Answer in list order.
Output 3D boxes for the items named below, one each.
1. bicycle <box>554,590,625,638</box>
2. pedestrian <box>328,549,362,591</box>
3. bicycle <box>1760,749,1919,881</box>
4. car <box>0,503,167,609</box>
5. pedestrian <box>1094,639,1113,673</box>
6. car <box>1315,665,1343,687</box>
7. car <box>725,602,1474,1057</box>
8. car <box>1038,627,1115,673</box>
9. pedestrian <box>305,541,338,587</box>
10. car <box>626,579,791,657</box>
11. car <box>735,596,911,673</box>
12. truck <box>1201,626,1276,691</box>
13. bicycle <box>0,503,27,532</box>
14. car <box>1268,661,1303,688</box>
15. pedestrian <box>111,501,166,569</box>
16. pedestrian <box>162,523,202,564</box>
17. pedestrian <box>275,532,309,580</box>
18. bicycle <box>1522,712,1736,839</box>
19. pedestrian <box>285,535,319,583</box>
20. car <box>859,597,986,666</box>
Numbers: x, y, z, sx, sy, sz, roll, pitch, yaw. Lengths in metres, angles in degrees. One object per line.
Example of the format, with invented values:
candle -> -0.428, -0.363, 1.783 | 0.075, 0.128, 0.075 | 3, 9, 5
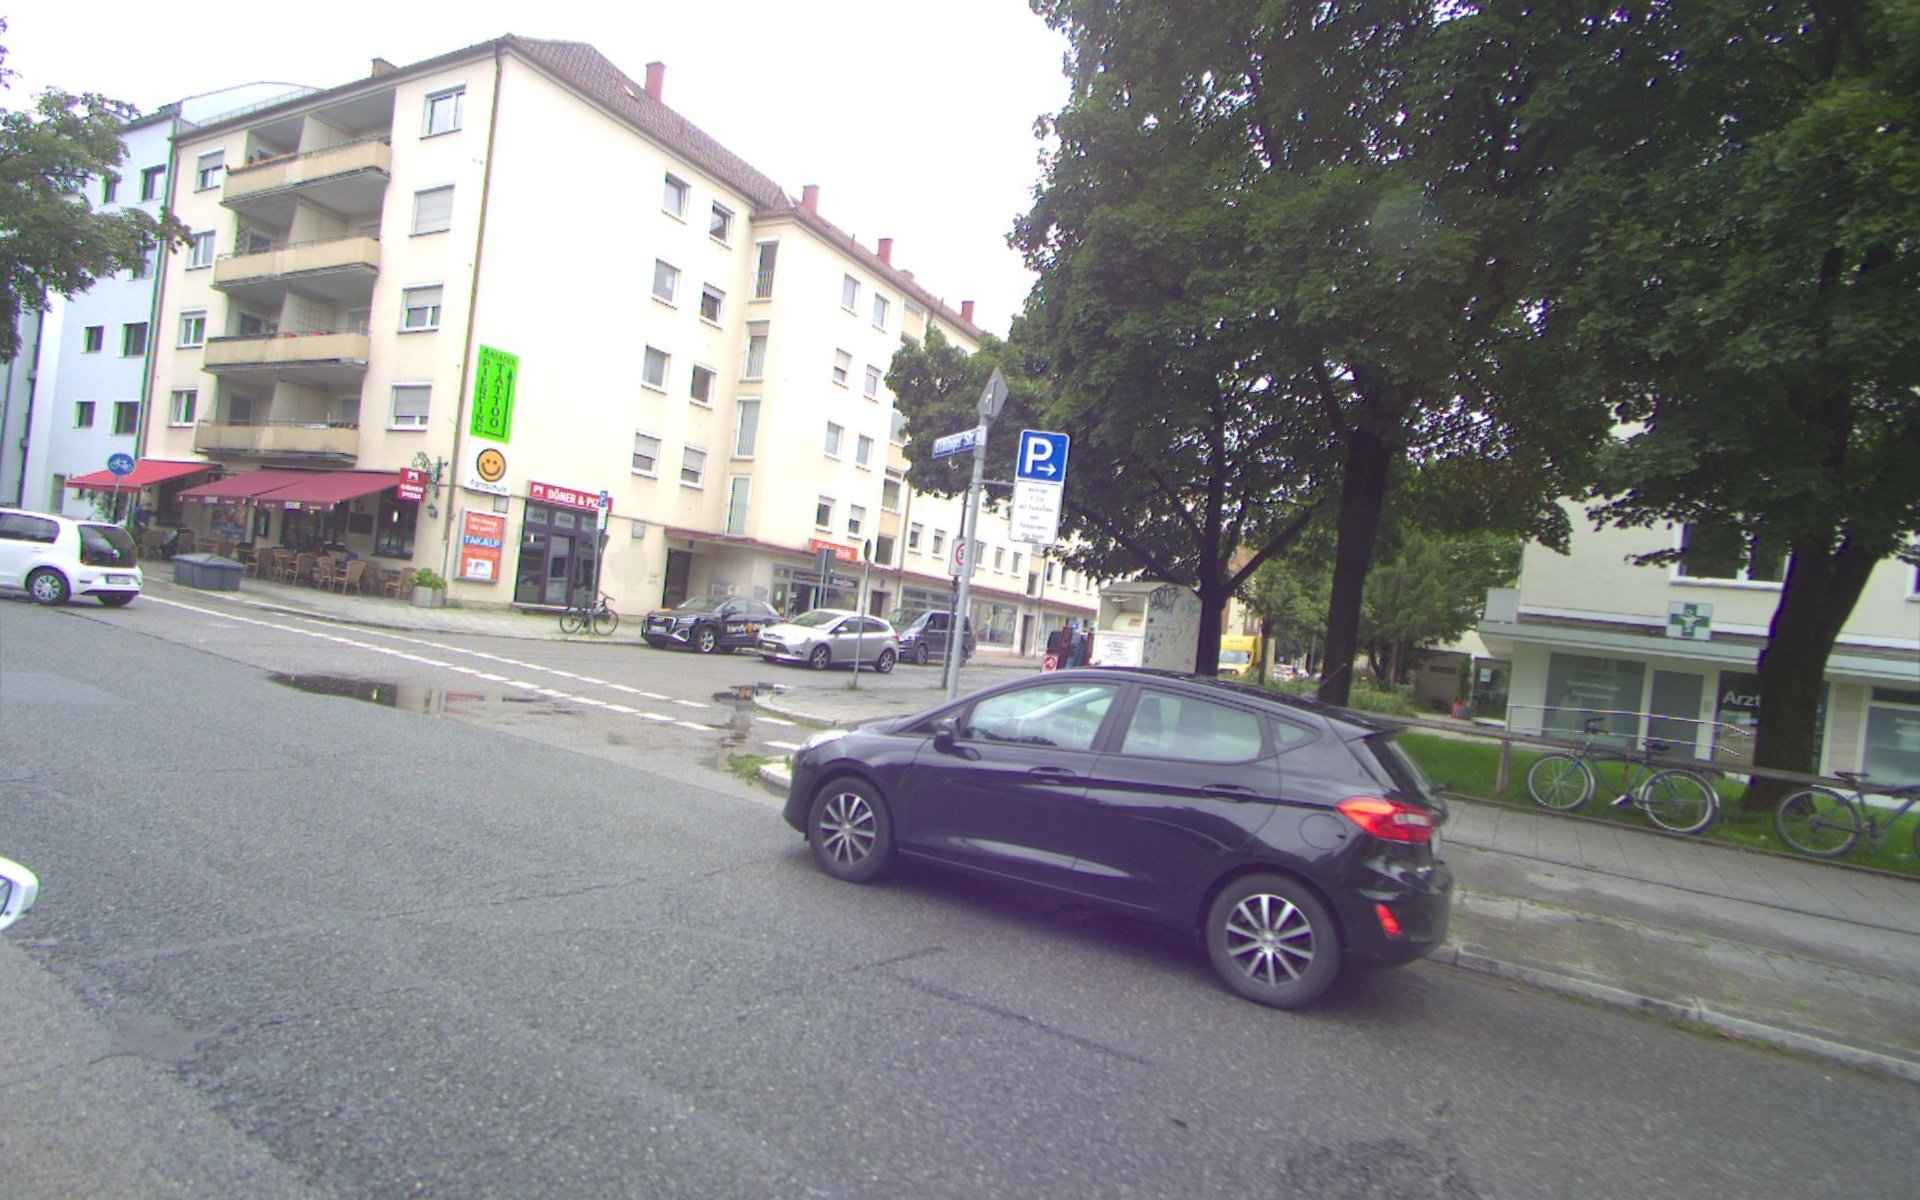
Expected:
bicycle -> -9.134, 0.357, 24.844 | 0.545, 1.023, 1.541 | 7, -1, 34
pedestrian -> -17.107, -0.831, 27.994 | 0.479, 1.066, 0.539 | 7, 0, 31
bicycle -> 9.106, 2.155, 9.941 | 1.738, 1.067, 0.470 | 6, -2, 31
car -> -15.770, -0.821, 16.871 | 3.375, 1.507, 1.691 | 7, -1, -6
pedestrian -> 6.943, 2.694, 48.622 | 0.486, 1.551, 0.733 | 7, 0, 31
car -> 32.968, 6.797, 89.838 | 1.573, 1.638, 3.764 | 7, -1, 30
car -> 0.709, 1.038, 5.912 | 3.890, 1.494, 1.647 | 7, -1, 31
car -> 5.721, 2.457, 48.708 | 2.117, 1.806, 4.999 | 7, -1, 25
pedestrian -> -18.287, -1.030, 28.818 | 0.479, 1.229, 0.539 | 7, 0, 31
car -> -6.294, 0.499, 25.624 | 1.701, 1.537, 3.933 | 7, -1, 30
car -> -3.343, 0.909, 25.258 | 1.968, 1.459, 4.212 | 7, -2, 34
truck -> 14.221, 3.049, 50.993 | 2.236, 2.803, 6.765 | 7, -1, 26
bicycle -> -38.550, -3.360, 40.669 | 2.159, 1.061, 0.621 | 6, 3, 32
car -> 23.639, 5.410, 72.933 | 1.573, 1.638, 3.764 | 7, -1, 30
pedestrian -> -25.422, -2.006, 31.153 | 0.747, 1.952, 0.871 | 7, 0, 15
pedestrian -> -25.204, -1.829, 32.596 | 0.636, 1.177, 0.744 | 7, 0, 31
pedestrian -> -20.058, -1.313, 30.222 | 0.543, 1.355, 0.539 | 7, 0, 30
bicycle -> 7.266, 1.879, 11.015 | 1.822, 1.027, 0.448 | 7, 0, 32
pedestrian -> -19.189, -1.196, 29.345 | 0.478, 1.283, 0.539 | 7, 0, 30
car -> -1.219, 1.159, 35.394 | 1.966, 1.907, 4.994 | 7, -1, 30
